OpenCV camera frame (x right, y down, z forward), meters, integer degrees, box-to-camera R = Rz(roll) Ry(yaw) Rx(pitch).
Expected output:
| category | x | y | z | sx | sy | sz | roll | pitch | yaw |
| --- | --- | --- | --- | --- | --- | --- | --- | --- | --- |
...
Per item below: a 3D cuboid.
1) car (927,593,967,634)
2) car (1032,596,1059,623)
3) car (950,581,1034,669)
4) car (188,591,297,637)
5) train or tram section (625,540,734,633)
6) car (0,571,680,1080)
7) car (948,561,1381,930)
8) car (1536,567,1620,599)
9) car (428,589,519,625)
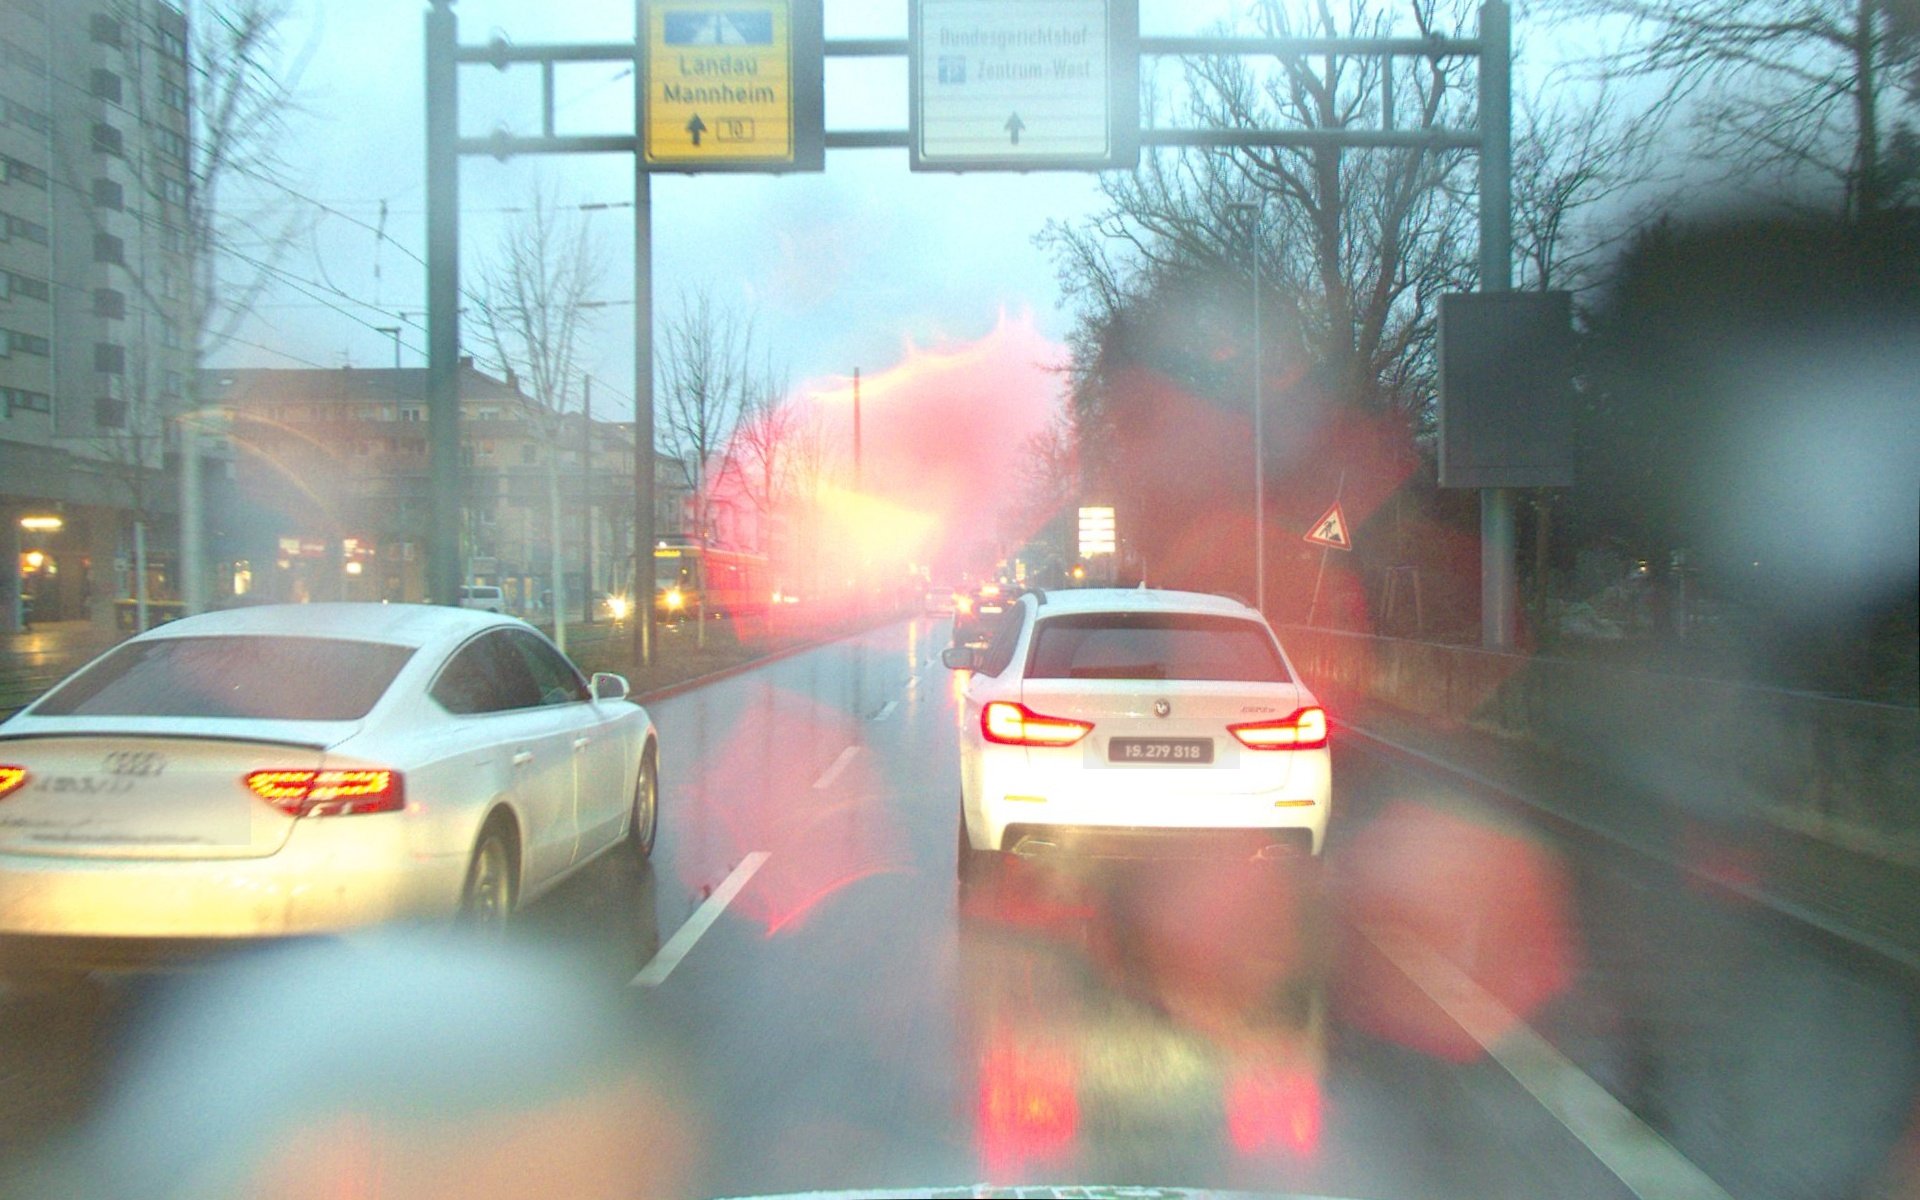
| category | x | y | z | sx | sy | sz | roll | pitch | yaw |
| --- | --- | --- | --- | --- | --- | --- | --- | --- | --- |
| car | -0.644 | 0.679 | 84.734 | 1.952 | 2.049 | 4.000 | 1 | 0 | 1 |
| car | 6.549 | 0.710 | 127.230 | 1.952 | 2.049 | 4.000 | 1 | 0 | 1 |
| car | 0.784 | 0.577 | 40.836 | 1.952 | 2.049 | 4.000 | 1 | 0 | 1 |
| car | -29.611 | 0.544 | 68.338 | 3.784 | 1.828 | 1.882 | -1 | 1 | -41 |
| train or tram section | -11.671 | -0.538 | 69.726 | 2.784 | 3.566 | 9.159 | -1 | 0 | 1 |
| car | -2.441 | 0.664 | 7.043 | 1.723 | 1.495 | 4.251 | 1 | 0 | 0 |
| car | 0.875 | 0.627 | 9.271 | 1.724 | 1.580 | 4.249 | 1 | 0 | -2 |
| car | 33.155 | -0.905 | 88.816 | 1.796 | 1.691 | 3.952 | 1 | 0 | -34 |
| car | -28.672 | 0.393 | 97.544 | 4.839 | 2.049 | 1.971 | -1 | 1 | -41 |
